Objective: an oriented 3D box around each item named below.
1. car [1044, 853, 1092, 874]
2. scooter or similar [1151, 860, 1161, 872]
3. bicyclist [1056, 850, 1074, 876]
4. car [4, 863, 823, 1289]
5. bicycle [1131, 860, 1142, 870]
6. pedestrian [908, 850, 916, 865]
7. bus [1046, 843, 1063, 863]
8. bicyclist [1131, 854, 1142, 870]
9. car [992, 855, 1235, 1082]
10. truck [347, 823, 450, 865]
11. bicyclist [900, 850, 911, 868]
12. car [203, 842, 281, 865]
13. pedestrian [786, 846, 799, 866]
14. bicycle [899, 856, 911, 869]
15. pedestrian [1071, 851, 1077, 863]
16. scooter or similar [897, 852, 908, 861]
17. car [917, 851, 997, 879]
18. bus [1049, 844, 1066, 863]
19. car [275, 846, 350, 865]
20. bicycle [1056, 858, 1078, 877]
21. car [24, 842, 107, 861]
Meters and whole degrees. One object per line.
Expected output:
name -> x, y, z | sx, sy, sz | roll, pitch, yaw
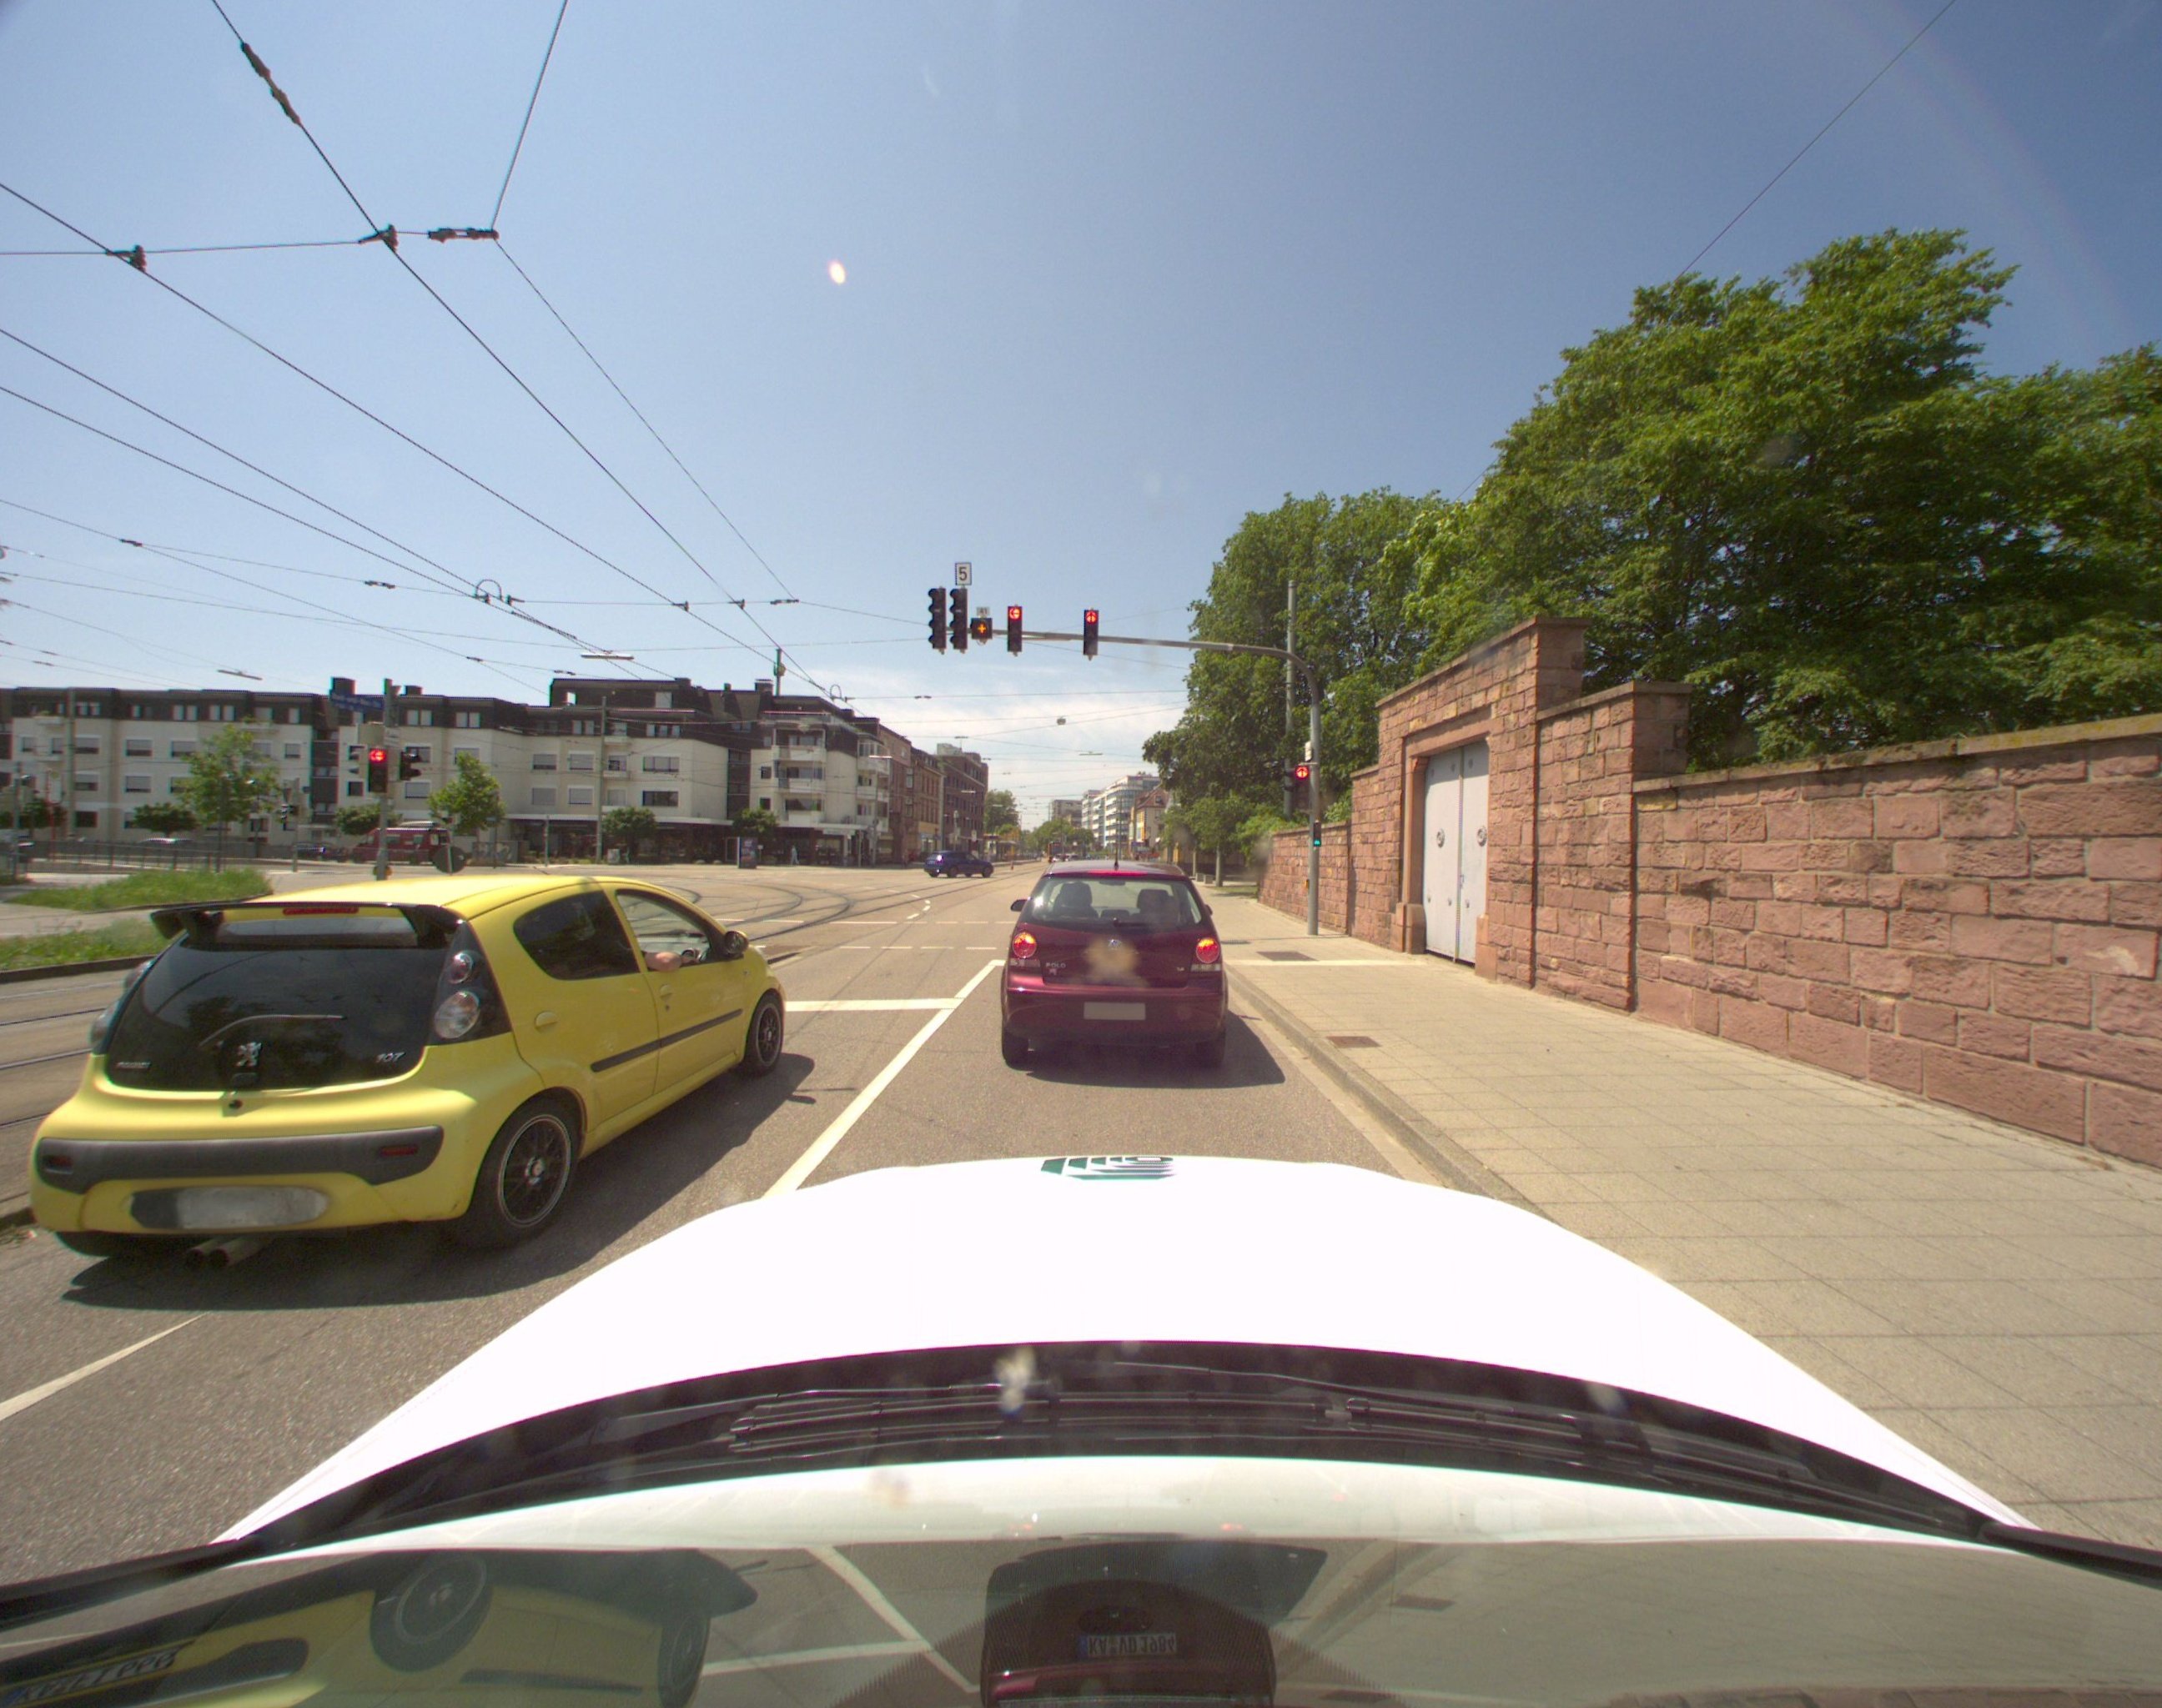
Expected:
car -> -0.974, 0.747, 63.061 | 1.806, 1.530, 4.025 | 1, 0, 30
scooter or similar -> 7.742, 1.217, 83.898 | 0.340, 1.178, 1.457 | 1, 0, -22
bicyclist -> -1.064, 0.607, 54.636 | 0.720, 1.760, 0.929 | 1, 0, 37
car -> -2.900, 0.788, 4.655 | 1.610, 1.421, 3.656 | -1, -1, 1
bicycle -> 5.857, 1.173, 86.168 | 0.662, 1.002, 1.873 | -2, 1, 21
pedestrian -> -18.289, 0.376, 88.175 | 0.612, 1.560, 0.640 | 1, 0, 1
bus -> -4.009, -0.111, 124.929 | 2.136, 3.003, 6.577 | 1, 0, 2
bicyclist -> 5.865, 0.859, 86.191 | 0.825, 1.618, 0.864 | -2, 1, 20
car -> 0.236, 0.746, 6.835 | 1.556, 1.453, 3.062 | 1, 0, 1
truck -> -45.382, -0.640, 54.246 | 5.007, 2.698, 2.188 | 1, 0, 1
bicyclist -> -16.719, 0.470, 77.555 | 0.692, 1.765, 1.137 | 1, 1, 0
car -> -55.943, -0.019, 54.331 | 3.556, 1.433, 1.591 | 1, 0, 2
pedestrian -> -24.603, 0.190, 69.365 | 0.802, 1.696, 0.702 | 1, 0, 2
bicycle -> -16.754, 0.777, 77.596 | 0.692, 1.149, 1.932 | 1, 1, 1
pedestrian -> -0.953, 0.443, 114.796 | 0.760, 1.674, 1.101 | 1, 0, 2
scooter or similar -> -20.246, 0.272, 92.483 | 0.484, 1.082, 1.584 | 1, 0, 18
car -> -7.626, 0.663, 50.424 | 1.975, 1.624, 4.660 | 1, 0, 41
bus -> -3.733, -0.059, 131.502 | 2.224, 3.003, 6.597 | 1, 0, 2
car -> -51.397, 0.075, 54.504 | 3.556, 1.219, 1.591 | 1, 0, 2
bicycle -> -0.929, 0.903, 54.763 | 0.372, 1.197, 1.917 | 1, 0, 34
car -> -67.884, -0.165, 54.482 | 3.556, 1.240, 1.591 | 1, 0, 2
